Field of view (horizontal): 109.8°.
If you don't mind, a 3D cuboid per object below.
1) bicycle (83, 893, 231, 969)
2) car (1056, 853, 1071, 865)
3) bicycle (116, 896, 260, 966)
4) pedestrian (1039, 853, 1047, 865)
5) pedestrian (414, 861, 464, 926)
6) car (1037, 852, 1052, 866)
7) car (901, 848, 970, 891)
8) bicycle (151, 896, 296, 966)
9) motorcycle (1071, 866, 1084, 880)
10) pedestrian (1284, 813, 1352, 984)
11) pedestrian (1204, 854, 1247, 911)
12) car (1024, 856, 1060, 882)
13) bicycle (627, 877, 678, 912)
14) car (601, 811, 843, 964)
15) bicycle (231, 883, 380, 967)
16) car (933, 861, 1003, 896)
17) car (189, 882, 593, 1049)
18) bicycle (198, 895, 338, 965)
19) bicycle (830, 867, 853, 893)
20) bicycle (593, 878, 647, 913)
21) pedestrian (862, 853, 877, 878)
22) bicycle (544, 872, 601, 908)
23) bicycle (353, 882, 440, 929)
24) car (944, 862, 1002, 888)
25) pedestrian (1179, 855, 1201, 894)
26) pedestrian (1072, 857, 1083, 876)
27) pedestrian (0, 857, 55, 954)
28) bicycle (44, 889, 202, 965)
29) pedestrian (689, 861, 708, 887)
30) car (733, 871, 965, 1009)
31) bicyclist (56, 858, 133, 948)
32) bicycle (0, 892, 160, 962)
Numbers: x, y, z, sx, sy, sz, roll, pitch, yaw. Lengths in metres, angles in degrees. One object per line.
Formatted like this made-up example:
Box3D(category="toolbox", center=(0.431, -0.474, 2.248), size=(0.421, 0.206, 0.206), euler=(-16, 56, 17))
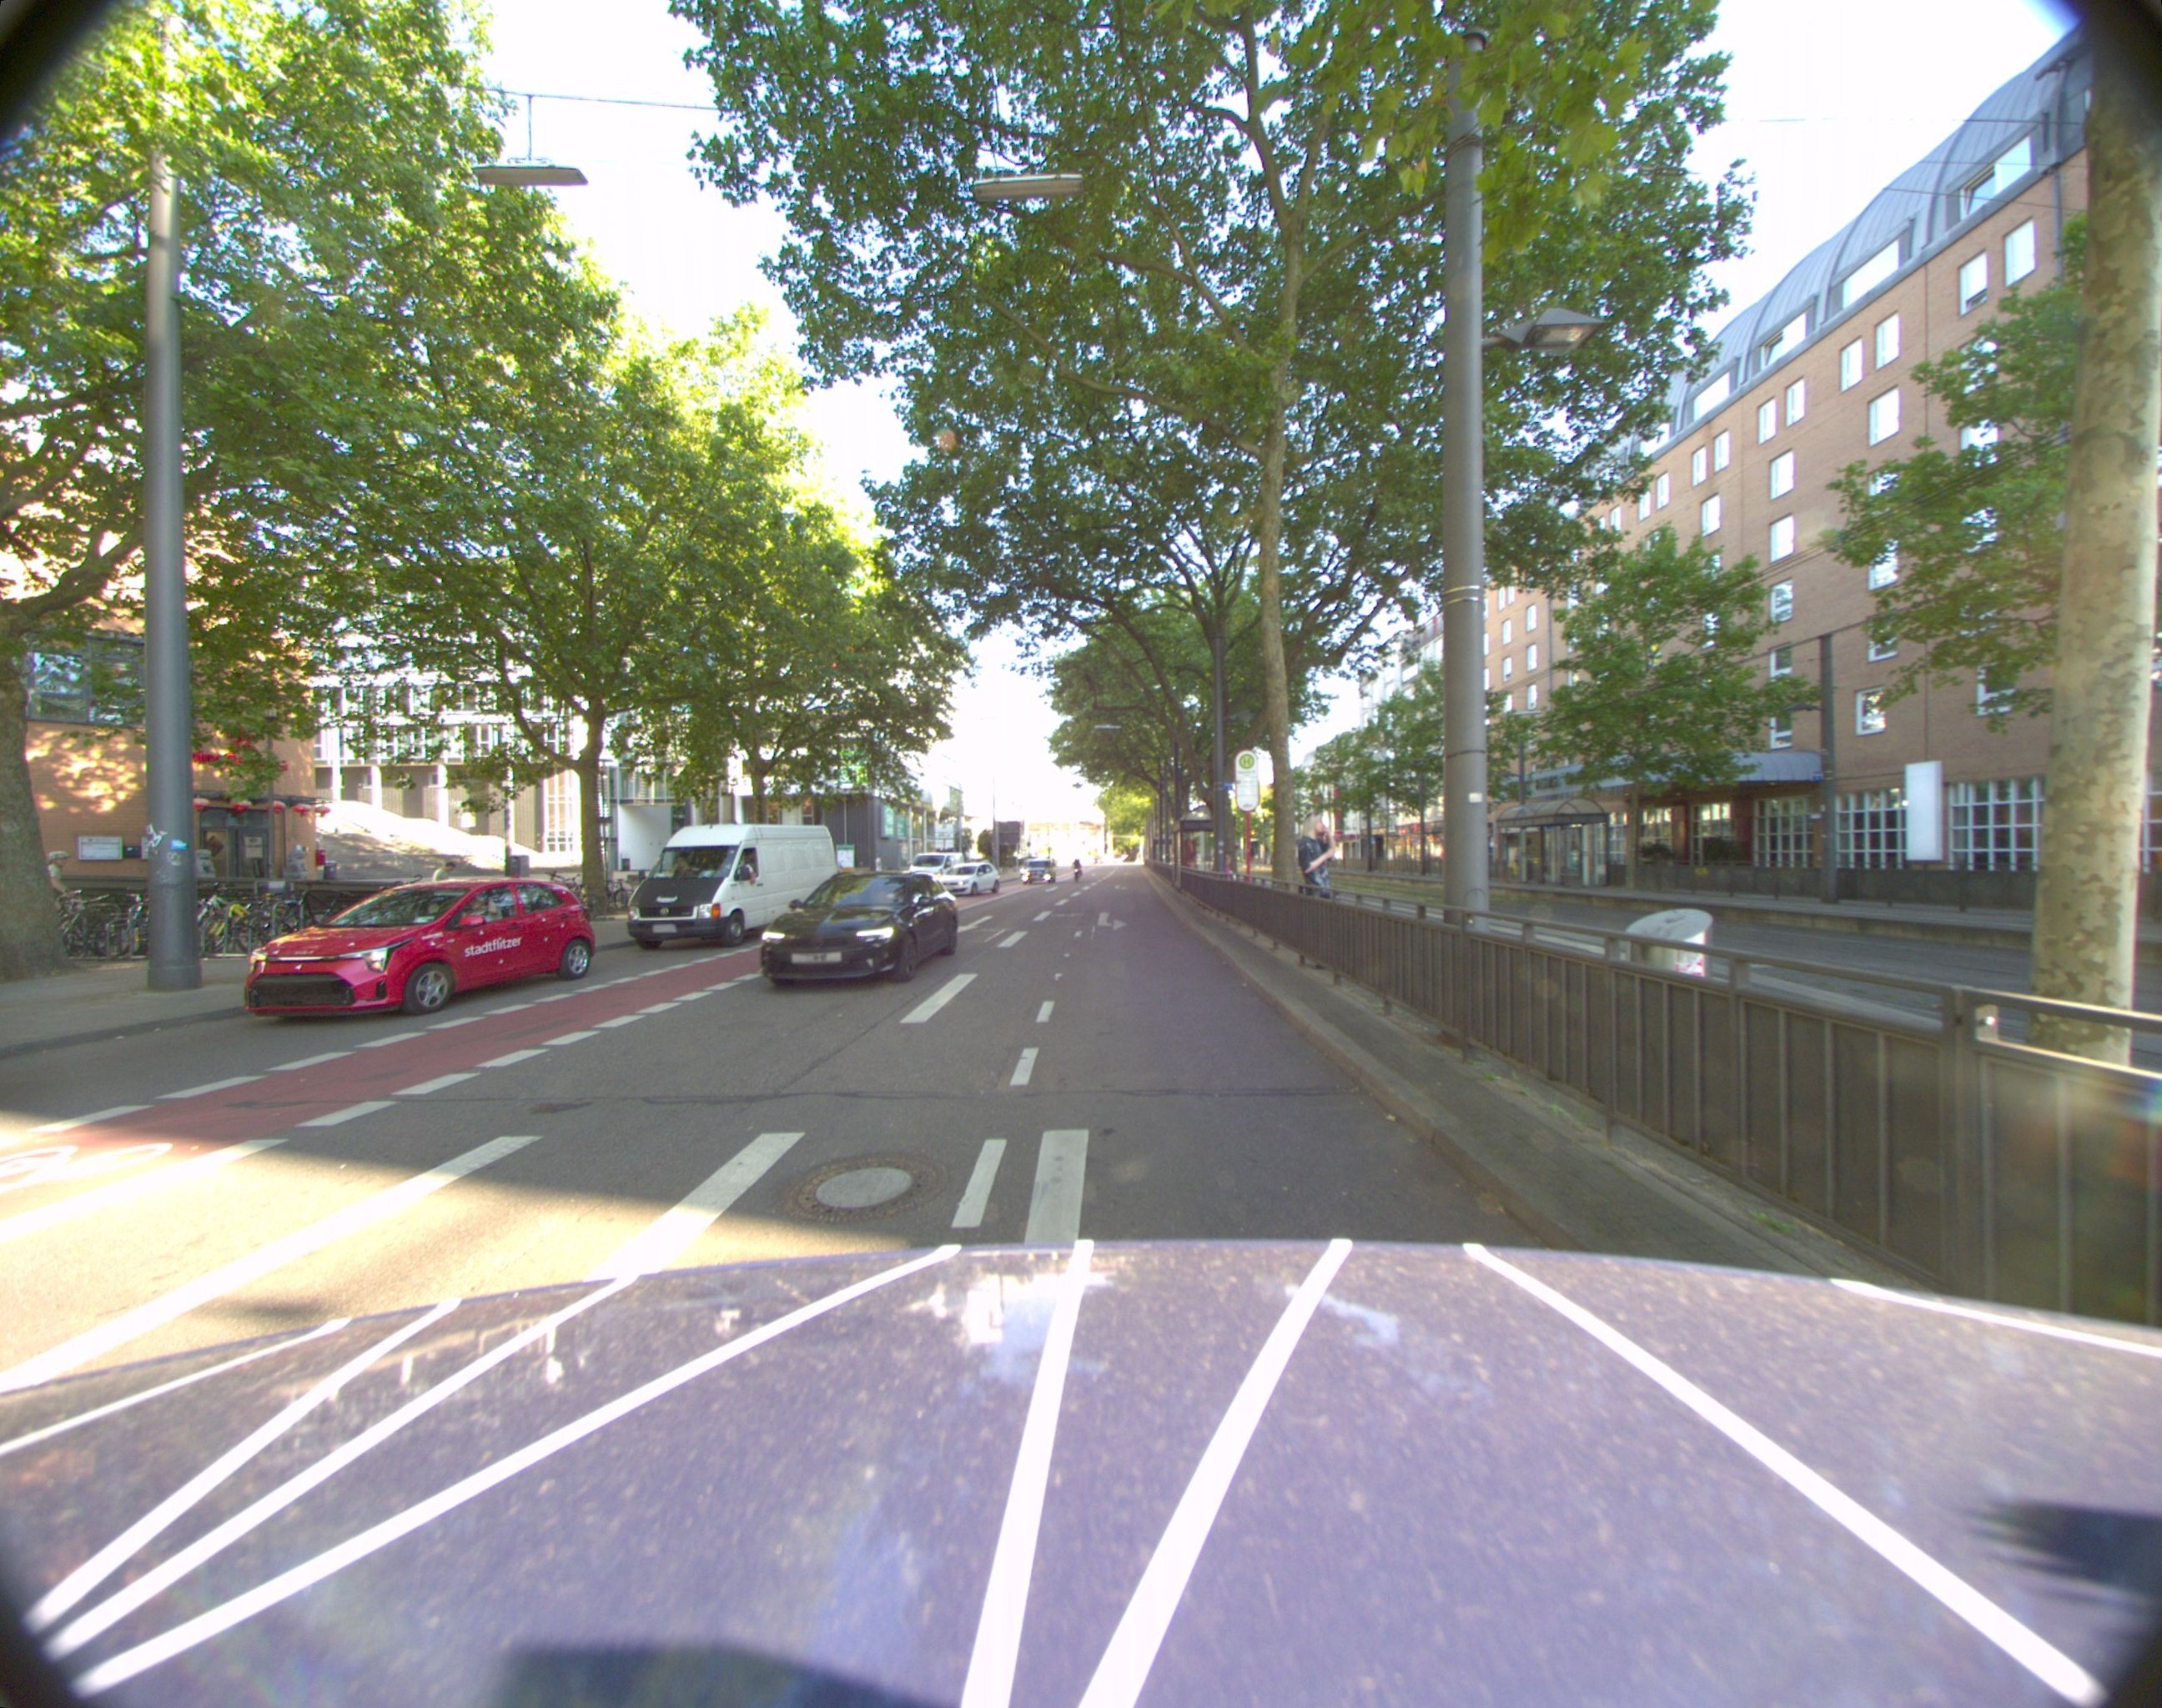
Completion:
Box3D(category="bicycle", center=(-15.906, 1.289, 13.146), size=(0.503, 1.130, 1.655), euler=(0, 0, 1))
Box3D(category="car", center=(-2.487, 0.734, 110.804), size=(1.998, 1.681, 3.999), euler=(-2, 1, 1))
Box3D(category="bicycle", center=(-15.340, 1.289, 13.118), size=(0.503, 1.026, 1.655), euler=(0, 0, 1))
Box3D(category="pedestrian", center=(-4.813, 0.621, 96.297), size=(0.753, 1.565, 0.912), euler=(-1, 1, 6))
Box3D(category="pedestrian", center=(-16.331, 0.982, 19.349), size=(0.718, 1.622, 0.636), euler=(0, 1, 7))
Box3D(category="car", center=(-5.306, 0.714, 110.604), size=(1.999, 1.856, 3.999), euler=(-2, 1, -1))
Box3D(category="car", center=(-7.601, 0.757, 40.321), size=(2.127, 2.121, 5.292), euler=(0, 0, 6))
Box3D(category="bicycle", center=(-14.694, 1.296, 13.093), size=(0.597, 1.026, 1.655), euler=(0, 0, 1))
Box3D(category="motorcycle", center=(-0.199, 1.233, 50.104), size=(0.667, 0.843, 2.223), euler=(0, 0, 4))
Box3D(category="pedestrian", center=(2.743, 0.496, 8.842), size=(0.511, 1.889, 0.760), euler=(-2, 1, 2))
Box3D(category="pedestrian", center=(3.729, 0.723, 19.660), size=(0.979, 1.392, 0.664), euler=(-2, 1, 6))
Box3D(category="car", center=(-2.549, 0.971, 50.584), size=(1.785, 1.628, 4.023), euler=(0, 0, 7))
Box3D(category="bicycle", center=(-13.832, 1.305, 24.585), size=(0.597, 1.041, 1.655), euler=(0, 0, 4))
Box3D(category="car", center=(-7.550, 0.600, 17.080), size=(1.998, 2.708, 6.562), euler=(-2, 0, 2))
Box3D(category="bicycle", center=(-13.244, 1.177, 13.066), size=(0.597, 1.257, 1.876), euler=(0, 0, 1))
Box3D(category="car", center=(-5.113, 1.088, 34.929), size=(1.669, 1.455, 3.874), euler=(0, 0, 17))
Box3D(category="car", center=(-7.955, 1.164, 9.292), size=(1.562, 1.455, 3.621), euler=(-2, 0, 1))
Box3D(category="bicycle", center=(-13.925, 1.267, 13.078), size=(0.597, 1.026, 1.655), euler=(0, 0, 1))
Box3D(category="bicycle", center=(-11.331, 1.230, 35.998), size=(0.514, 1.151, 1.540), euler=(-1, 0, 3))
Box3D(category="bicycle", center=(-14.738, 1.303, 24.328), size=(0.597, 1.041, 1.655), euler=(0, 0, 4))
Box3D(category="pedestrian", center=(-14.047, 0.766, 50.497), size=(0.721, 1.666, 0.541), euler=(0, 1, 23))
Box3D(category="bicycle", center=(-16.095, 1.131, 24.094), size=(0.597, 1.041, 1.655), euler=(0, 0, 4))
Box3D(category="bicycle", center=(-17.785, 1.313, 19.785), size=(0.596, 1.119, 1.656), euler=(0, 0, 9))
Box3D(category="car", center=(-6.526, 1.240, 46.394), size=(1.783, 1.411, 4.027), euler=(0, 0, 21))
Box3D(category="pedestrian", center=(3.994, 0.737, 27.834), size=(0.735, 1.379, 0.640), euler=(-2, 1, 6))
Box3D(category="pedestrian", center=(-0.198, 0.815, 49.964), size=(0.665, 1.218, 0.775), euler=(0, 1, 4))
Box3D(category="pedestrian", center=(-19.933, 0.935, 13.943), size=(0.788, 1.747, 1.020), euler=(0, 1, 6))
Box3D(category="bicycle", center=(-16.455, 1.222, 13.122), size=(0.479, 1.153, 1.694), euler=(0, 0, 5))
Box3D(category="pedestrian", center=(-21.430, 1.098, 42.568), size=(0.712, 1.447, 0.601), euler=(0, 1, 4))
Box3D(category="car", center=(-3.012, 1.051, 10.950), size=(1.827, 1.416, 4.346), euler=(-2, 0, 2))
Box3D(category="bicyclist", center=(-18.446, 0.889, 14.210), size=(0.562, 1.607, 0.823), euler=(0, 1, 35))
Box3D(category="bicycle", center=(-18.531, 1.312, 14.091), size=(0.566, 1.119, 1.782), euler=(0, 1, 34))
